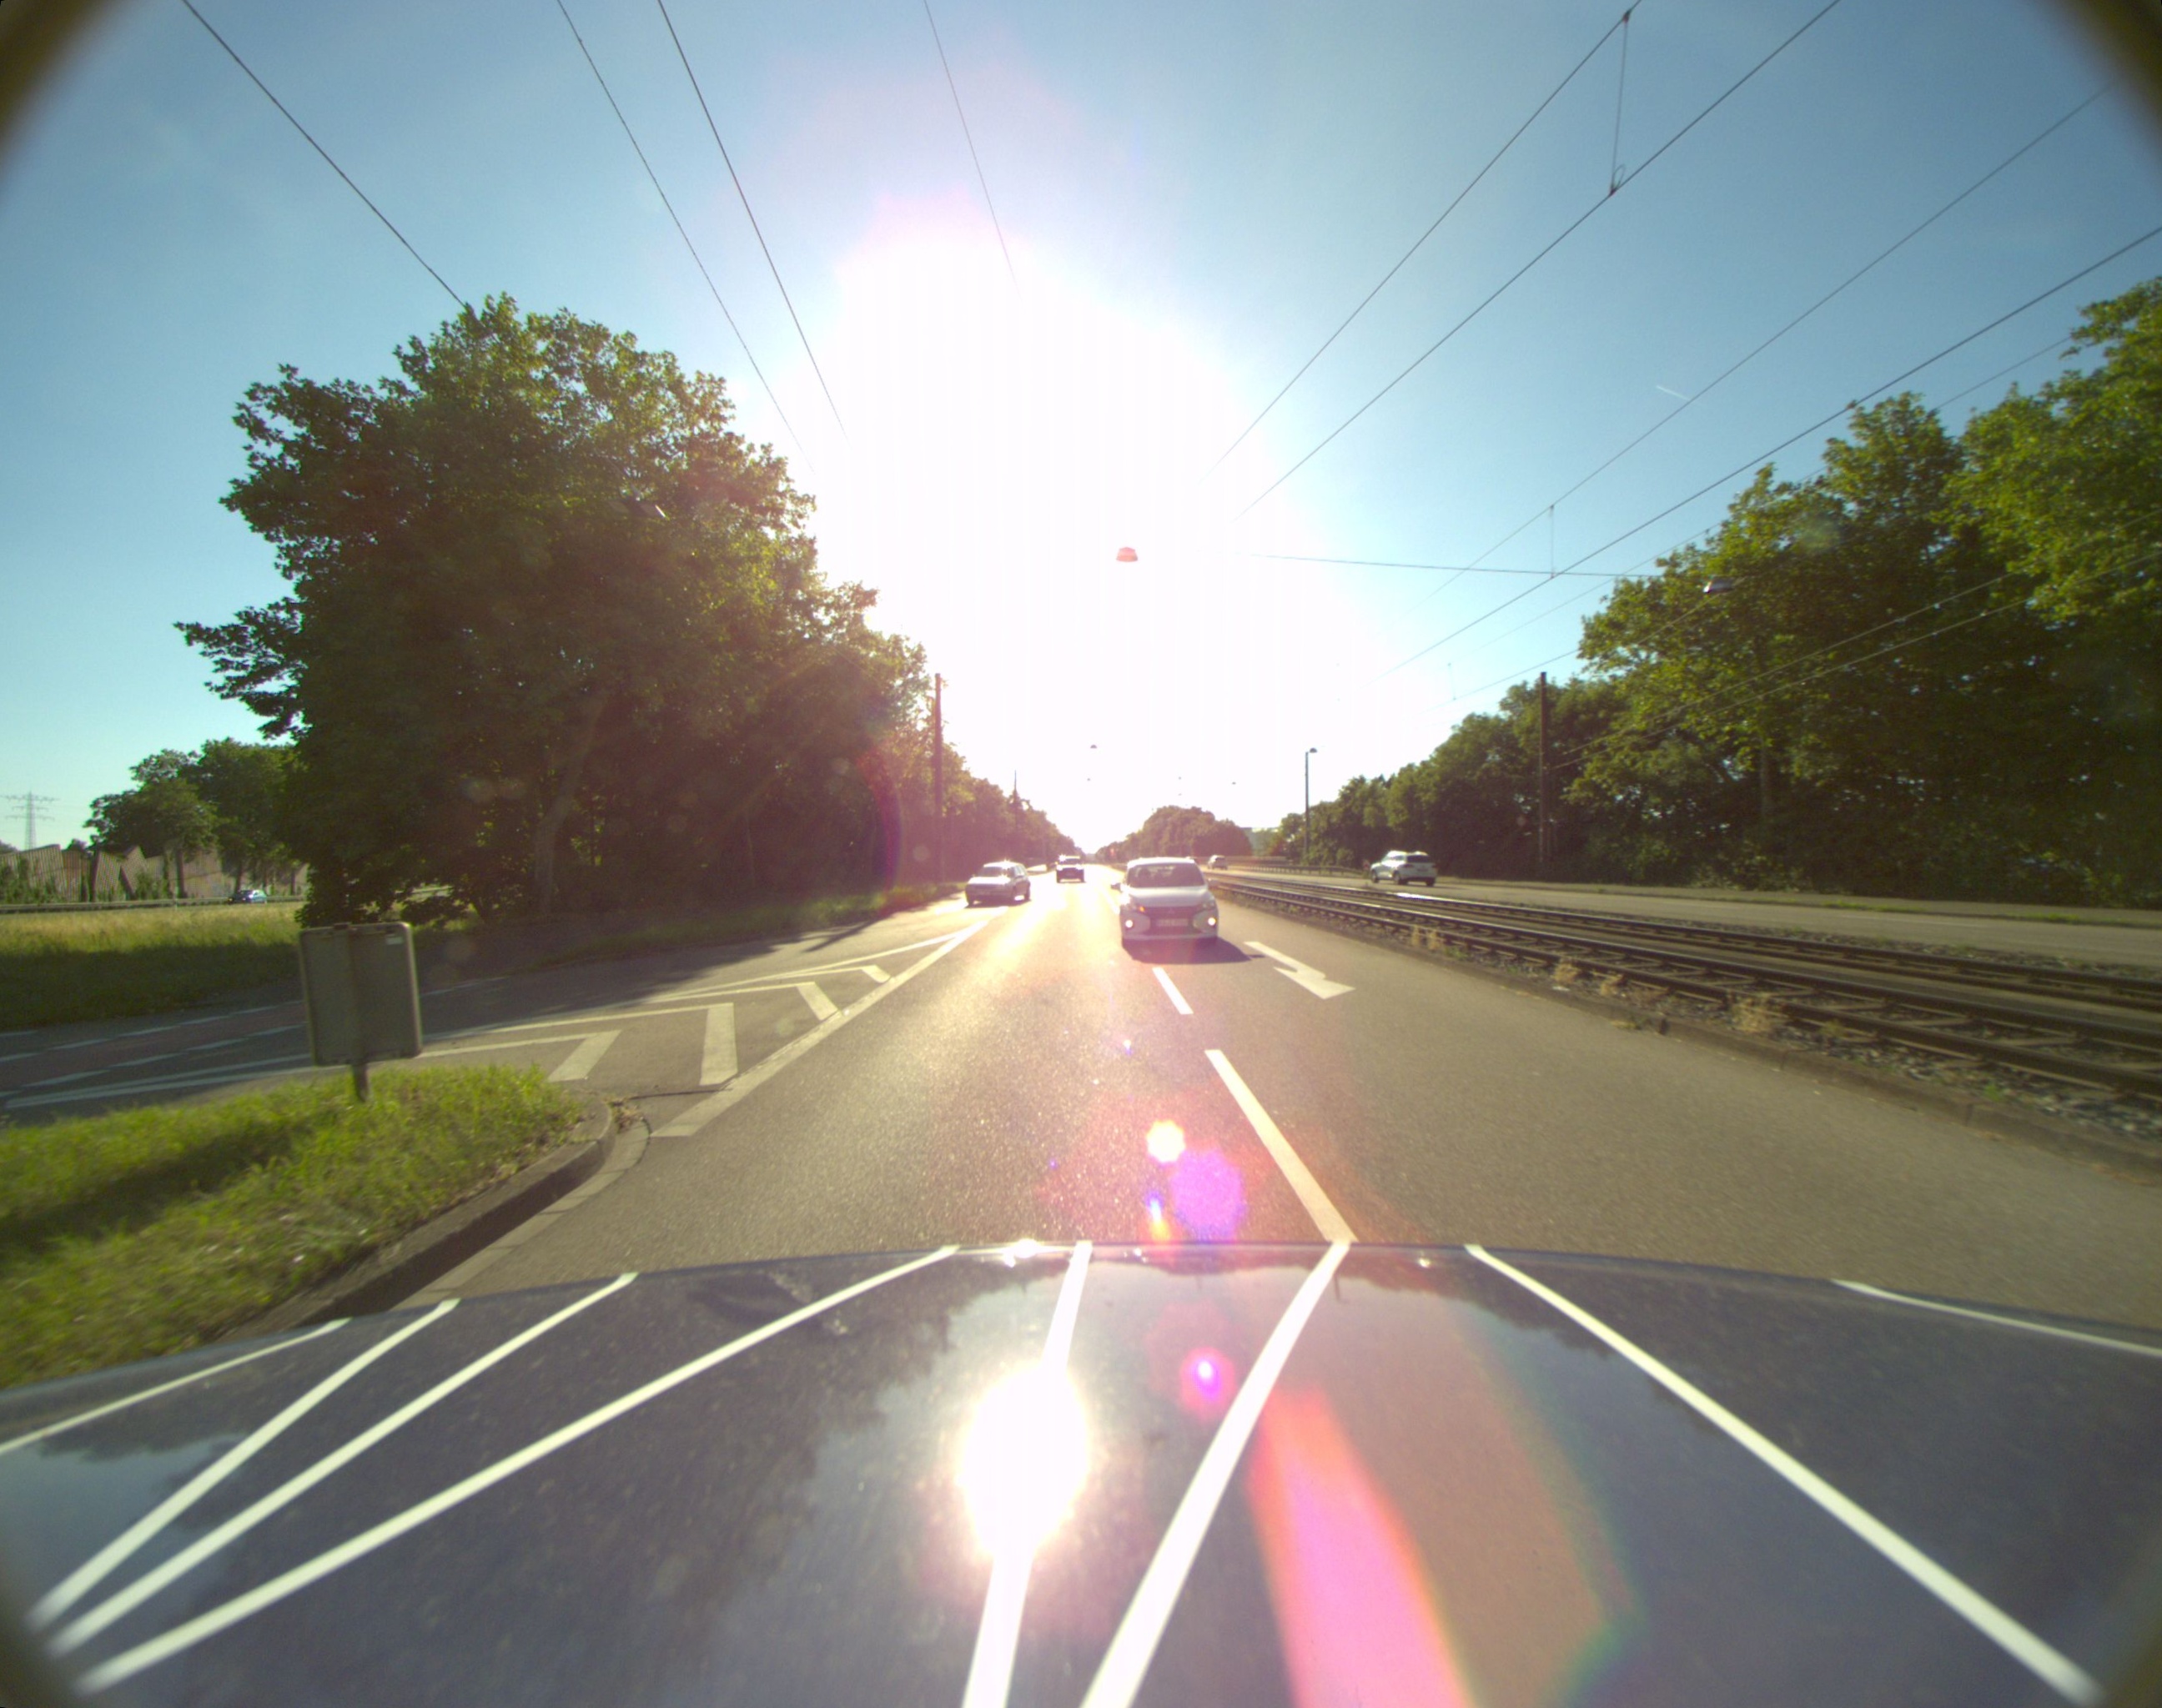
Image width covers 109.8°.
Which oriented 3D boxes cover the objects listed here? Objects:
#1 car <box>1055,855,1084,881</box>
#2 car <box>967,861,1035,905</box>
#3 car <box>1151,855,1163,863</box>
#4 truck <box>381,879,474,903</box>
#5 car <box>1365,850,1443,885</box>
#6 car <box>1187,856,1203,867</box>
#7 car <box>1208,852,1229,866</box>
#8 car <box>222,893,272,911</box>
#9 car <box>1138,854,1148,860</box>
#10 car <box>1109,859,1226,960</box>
[{"bbox_3d":[-0.714,0.876,49.304,1.709,1.512,3.844,-2,0,0],"label":"car"},{"bbox_3d":[-2.910,1.033,28.332,1.692,1.409,4.136,-2,0,5],"label":"car"},{"bbox_3d":[15.625,1.024,156.100,1.759,1.406,4.876,2,0,-2],"label":"car"},{"bbox_3d":[-102.784,5.887,119.826,10.627,3.474,2.646,3,-1,-28],"label":"truck"},{"bbox_3d":[17.078,0.672,40.440,1.851,1.724,4.930,1,0,-2],"label":"car"},{"bbox_3d":[16.145,1.027,107.985,1.661,1.424,4.501,1,0,0],"label":"car"},{"bbox_3d":[16.254,0.572,90.128,1.696,1.547,4.190,1,0,-1],"label":"car"},{"bbox_3d":[-83.057,4.743,75.719,1.801,1.432,4.215,-2,0,-25],"label":"car"},{"bbox_3d":[14.964,0.734,183.443,1.713,1.571,4.800,0,0,-1],"label":"car"},{"bbox_3d":[1.446,0.895,14.022,1.709,1.503,3.862,-2,0,0],"label":"car"}]
